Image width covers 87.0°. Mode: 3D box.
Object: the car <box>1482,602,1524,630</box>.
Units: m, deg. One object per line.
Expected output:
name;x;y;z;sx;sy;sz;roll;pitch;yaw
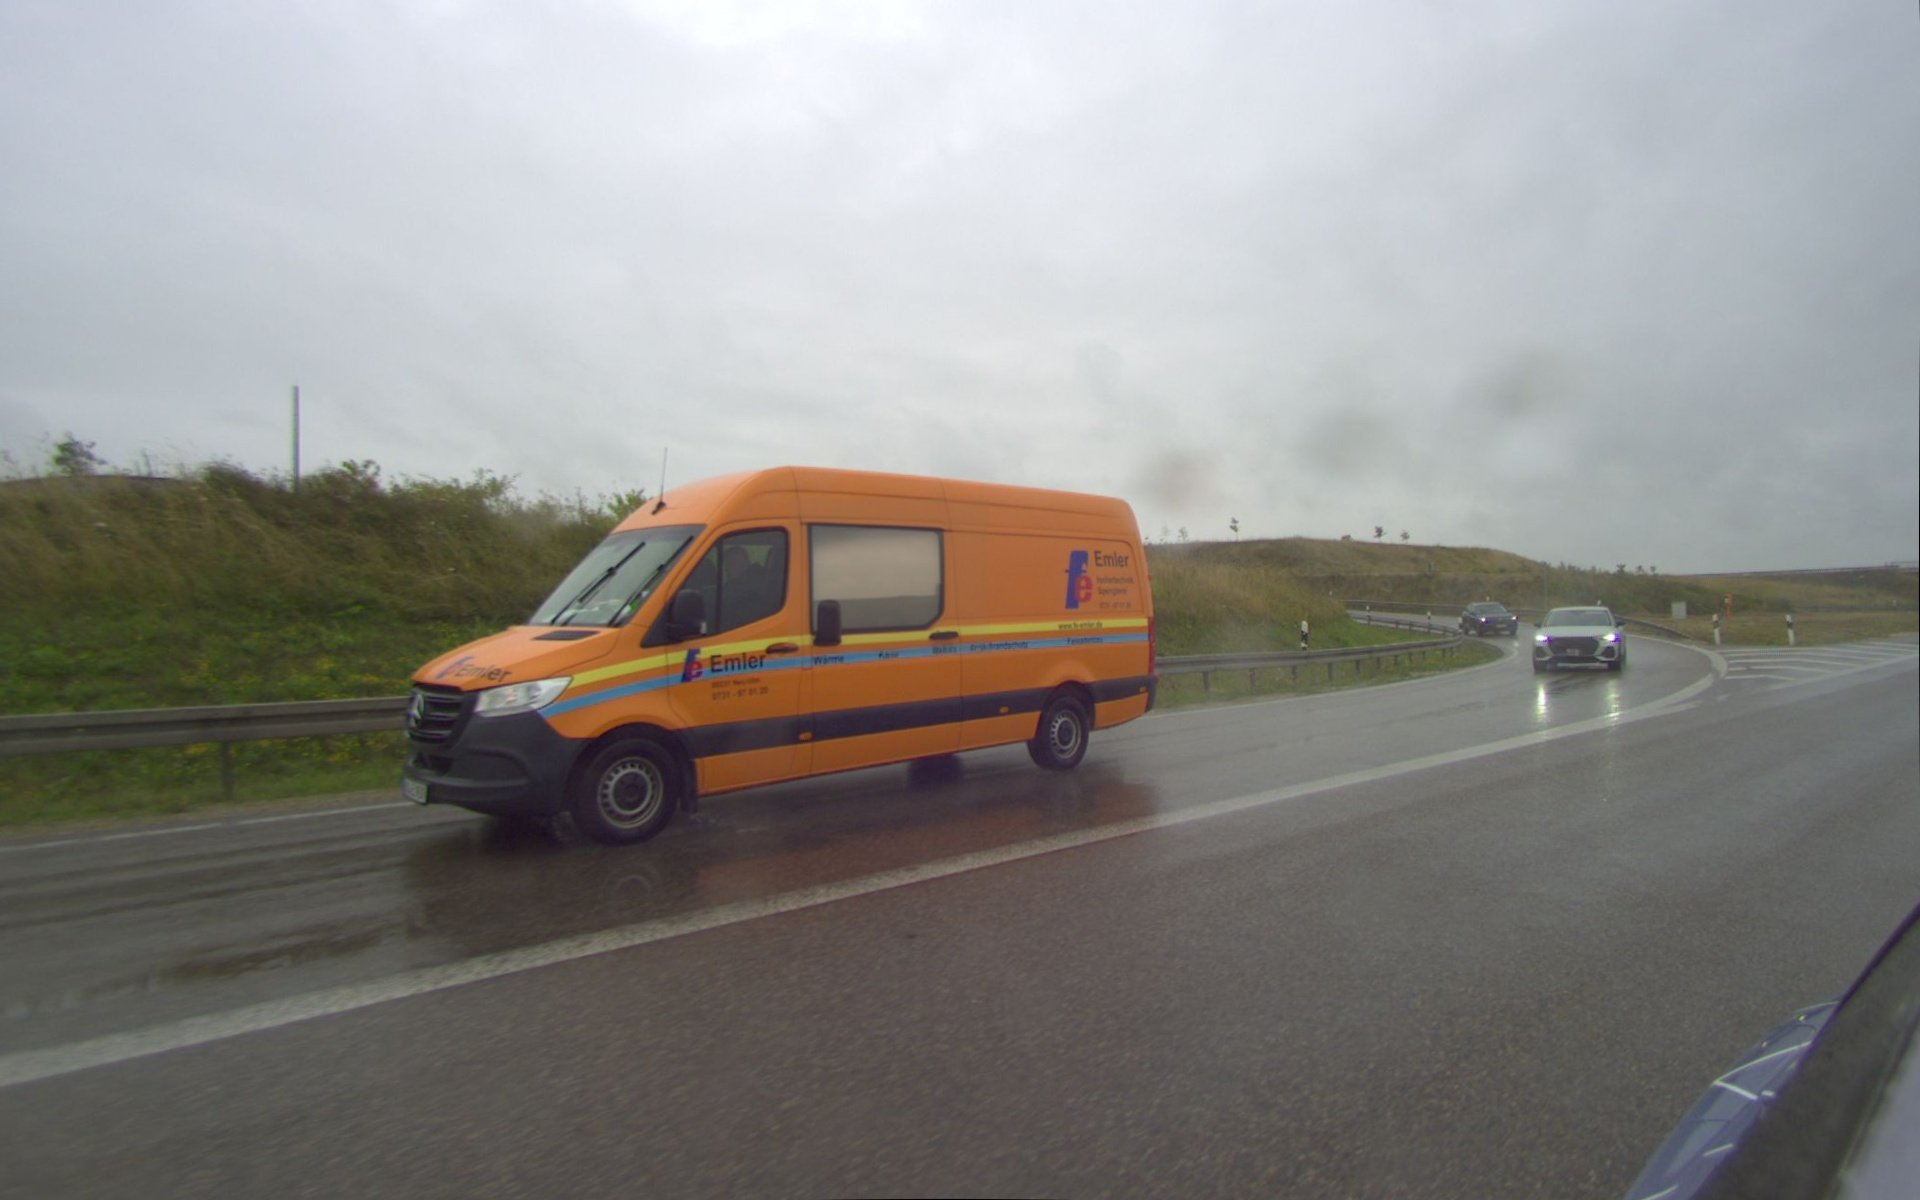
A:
car;28.001;0.802;52.305;1.803;1.304;3.963;0;1;27

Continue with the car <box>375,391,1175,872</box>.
car;-0.961;0.165;8.694;6.773;2.649;2.062;0;-1;-44

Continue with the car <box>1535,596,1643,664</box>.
car;16.053;0.725;25.719;1.903;1.504;4.418;-4;-2;37
